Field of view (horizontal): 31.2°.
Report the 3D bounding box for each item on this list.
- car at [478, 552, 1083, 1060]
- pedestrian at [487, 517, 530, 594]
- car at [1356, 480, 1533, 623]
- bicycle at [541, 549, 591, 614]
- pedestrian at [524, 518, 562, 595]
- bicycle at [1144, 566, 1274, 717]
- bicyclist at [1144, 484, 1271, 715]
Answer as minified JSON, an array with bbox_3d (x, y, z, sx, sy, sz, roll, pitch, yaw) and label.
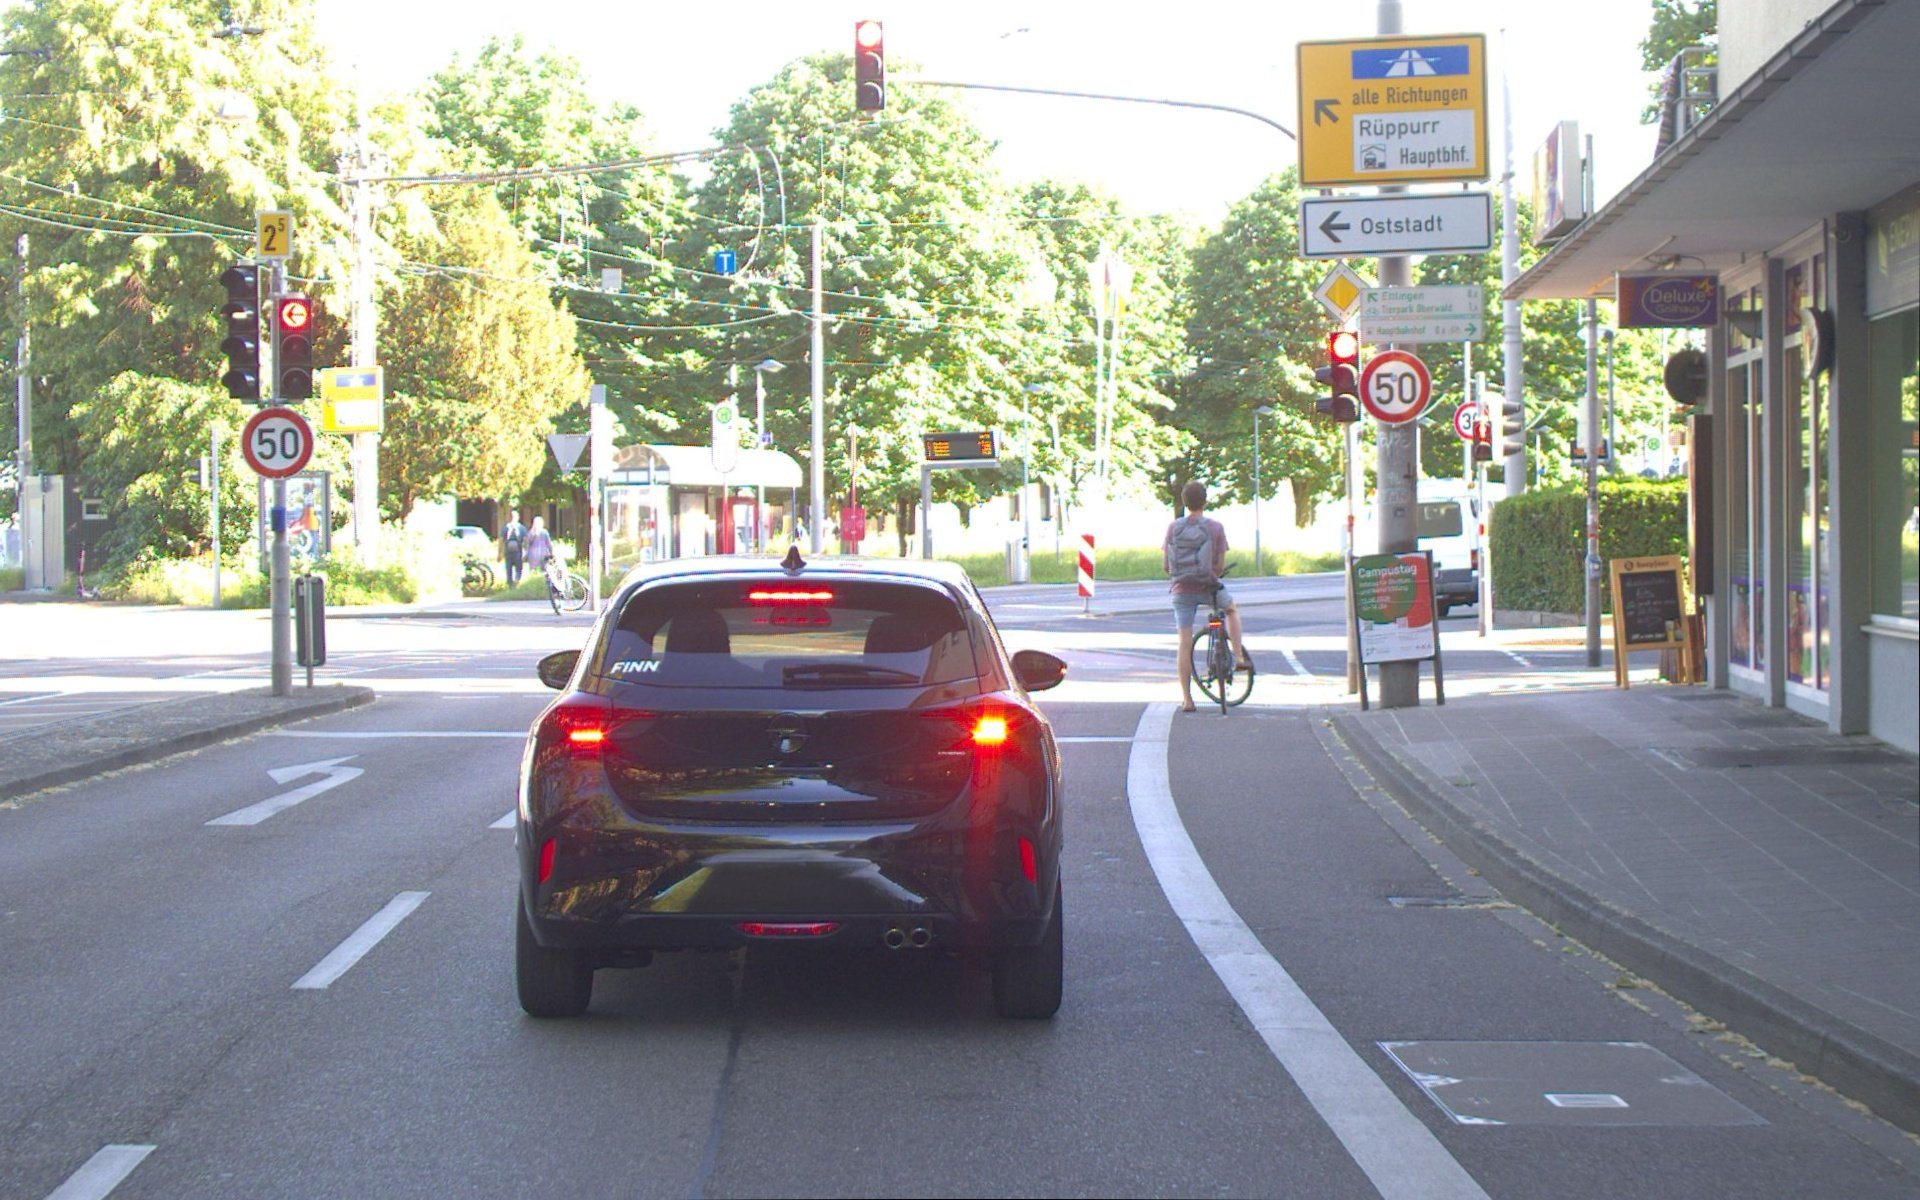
[{"bbox_3d":[-0.523,0.565,11.996,1.727,1.424,4.187,1,1,0],"label":"car"},{"bbox_3d":[-9.723,-0.953,74.115,0.751,1.624,0.597,2,0,7],"label":"pedestrian"},{"bbox_3d":[8.040,-0.822,56.647,2.065,2.241,4.883,0,1,18],"label":"car"},{"bbox_3d":[-6.488,-0.310,56.727,0.605,1.028,1.982,0,1,0],"label":"bicycle"},{"bbox_3d":[-8.984,-0.931,74.060,0.636,1.624,0.572,2,0,7],"label":"pedestrian"},{"bbox_3d":[2.012,0.317,28.065,0.860,1.149,2.172,-1,1,-1],"label":"bicycle"},{"bbox_3d":[2.009,-0.016,28.012,0.941,1.845,0.864,-1,1,-1],"label":"bicyclist"}]
